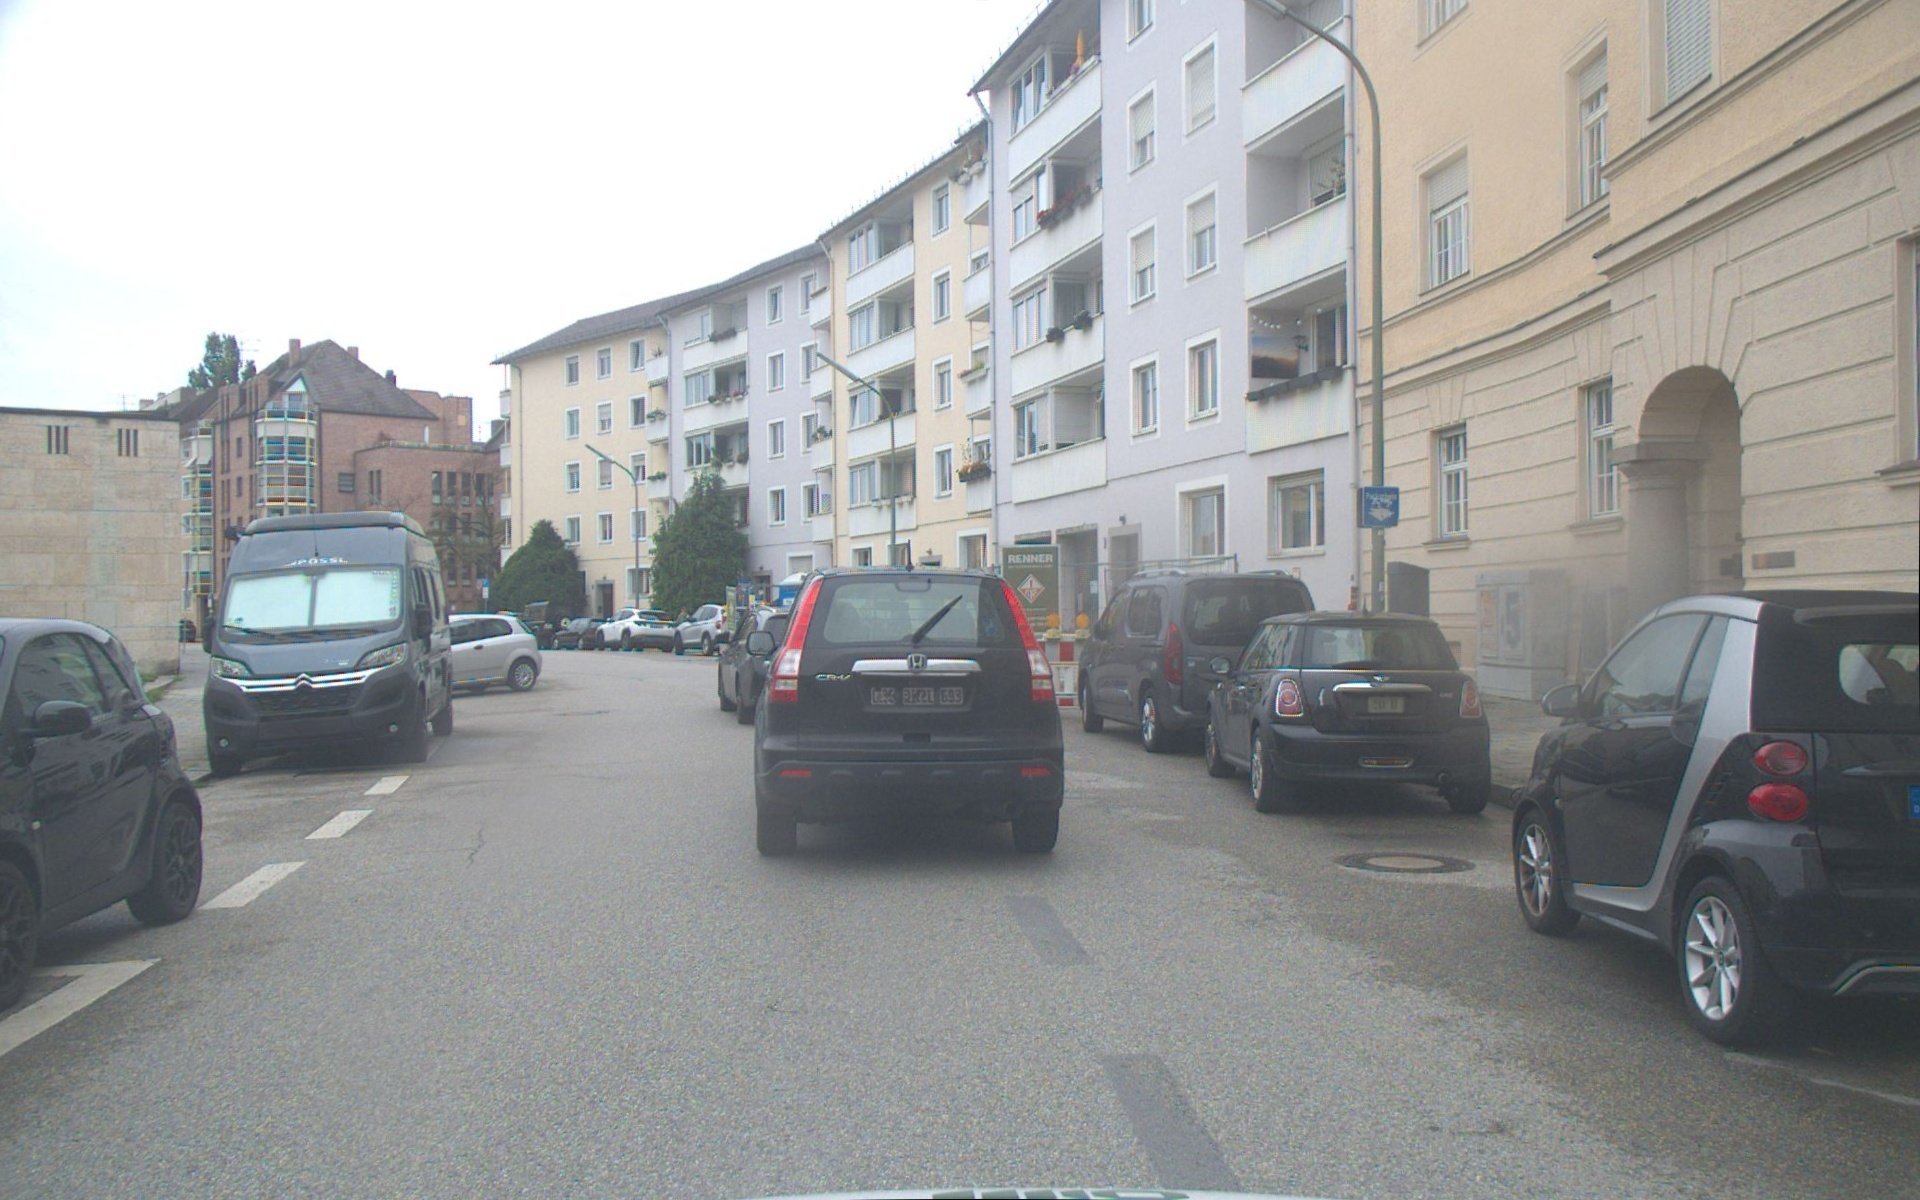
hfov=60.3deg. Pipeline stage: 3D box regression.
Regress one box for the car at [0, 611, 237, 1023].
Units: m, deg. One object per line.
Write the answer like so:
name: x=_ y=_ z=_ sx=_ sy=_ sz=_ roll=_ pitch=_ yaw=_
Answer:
car: x=-4.552 y=0.852 z=7.280 sx=1.638 sy=1.528 sz=2.973 roll=-2 pitch=0 yaw=-6

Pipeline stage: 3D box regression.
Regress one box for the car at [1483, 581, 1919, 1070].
car: x=3.390 y=0.735 z=6.831 sx=1.503 sy=1.550 sz=3.111 roll=1 pitch=0 yaw=1

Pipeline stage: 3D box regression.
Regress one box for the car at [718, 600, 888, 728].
car: x=-2.156 y=0.768 z=21.774 sx=1.651 sy=1.507 sz=4.071 roll=0 pitch=0 yaw=-14

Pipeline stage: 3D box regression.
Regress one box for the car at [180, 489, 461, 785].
car: x=-6.825 y=0.328 z=18.364 sx=2.128 sy=2.688 sz=5.994 roll=-2 pitch=0 yaw=-14

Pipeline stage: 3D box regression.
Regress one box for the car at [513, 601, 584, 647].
car: x=-17.739 y=1.022 z=71.206 sx=1.709 sy=1.911 sz=3.952 roll=0 pitch=0 yaw=-34

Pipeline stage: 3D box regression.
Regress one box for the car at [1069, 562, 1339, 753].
car: x=2.522 y=0.577 z=18.185 sx=1.745 sy=1.838 sz=4.267 roll=1 pitch=0 yaw=-9

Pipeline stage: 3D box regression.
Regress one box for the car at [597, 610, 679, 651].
car: x=-12.346 y=1.131 z=63.250 sx=1.709 sy=1.509 sz=3.952 roll=0 pitch=0 yaw=-34

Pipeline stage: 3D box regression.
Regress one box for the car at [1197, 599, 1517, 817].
car: x=3.000 y=0.751 z=13.267 sx=1.673 sy=1.472 sz=3.830 roll=1 pitch=0 yaw=1

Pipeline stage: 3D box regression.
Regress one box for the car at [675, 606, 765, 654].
car: x=-7.957 y=0.967 z=54.595 sx=1.705 sy=1.509 sz=3.963 roll=0 pitch=0 yaw=-28

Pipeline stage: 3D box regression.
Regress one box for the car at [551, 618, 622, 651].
car: x=-15.244 y=1.380 z=67.435 sx=1.683 sy=1.258 sz=3.559 roll=0 pitch=0 yaw=-34

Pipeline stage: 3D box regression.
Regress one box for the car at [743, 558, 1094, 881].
car: x=-0.419 y=0.633 z=10.731 sx=1.854 sy=1.676 sz=3.986 roll=0 pitch=0 yaw=-6

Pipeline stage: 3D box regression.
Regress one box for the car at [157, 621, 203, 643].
car: x=-54.409 y=2.222 z=115.356 sx=1.799 sy=1.498 sz=4.052 roll=0 pitch=0 yaw=-43

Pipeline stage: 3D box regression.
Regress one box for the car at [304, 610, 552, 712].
car: x=-9.748 y=1.090 z=30.541 sx=1.652 sy=1.507 sz=4.068 roll=-5 pitch=-1 yaw=38
